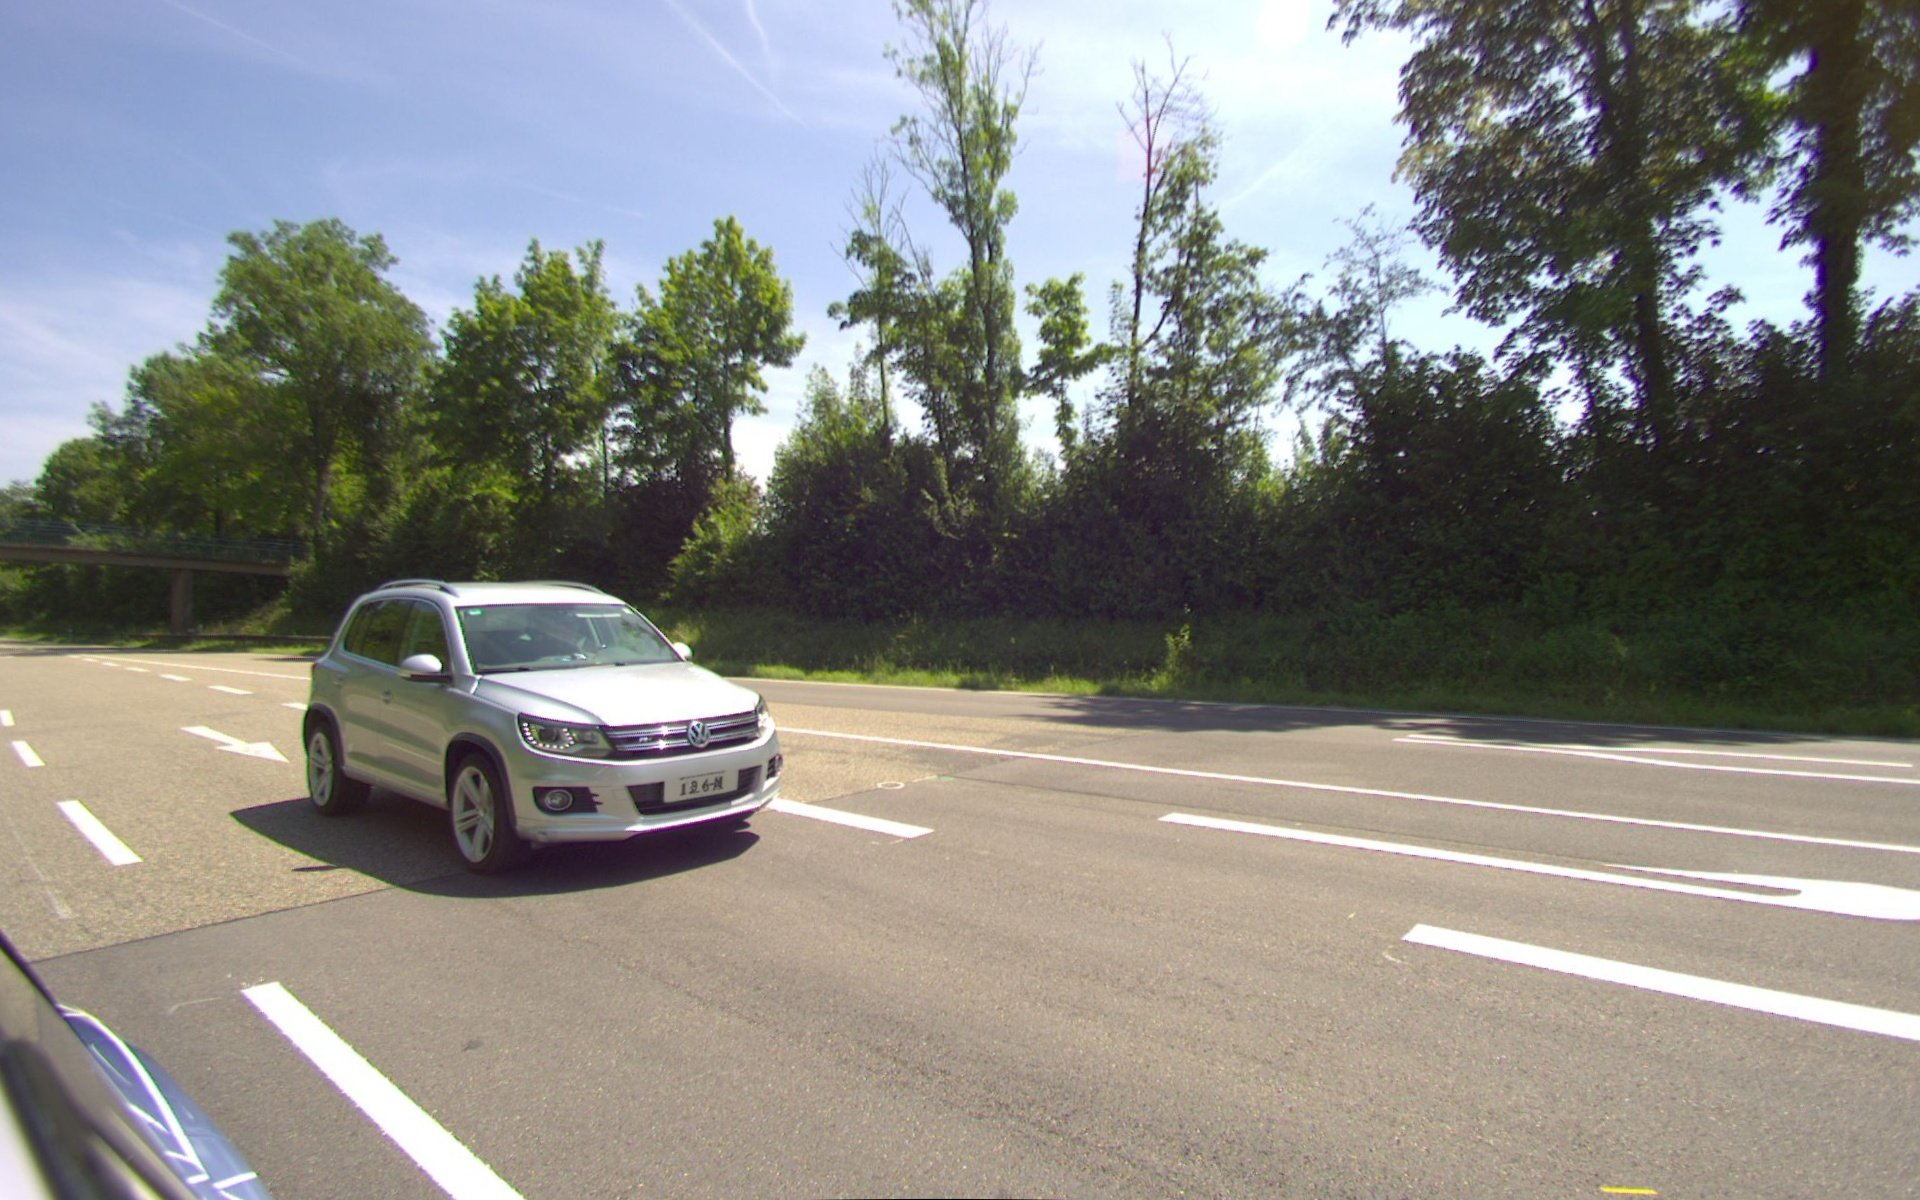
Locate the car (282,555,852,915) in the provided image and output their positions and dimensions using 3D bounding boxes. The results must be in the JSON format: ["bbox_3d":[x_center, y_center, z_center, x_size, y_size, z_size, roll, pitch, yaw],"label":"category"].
[{"bbox_3d":[-2.864,0.672,6.831,4.289,1.682,1.786,-2,-1,41],"label":"car"}]
